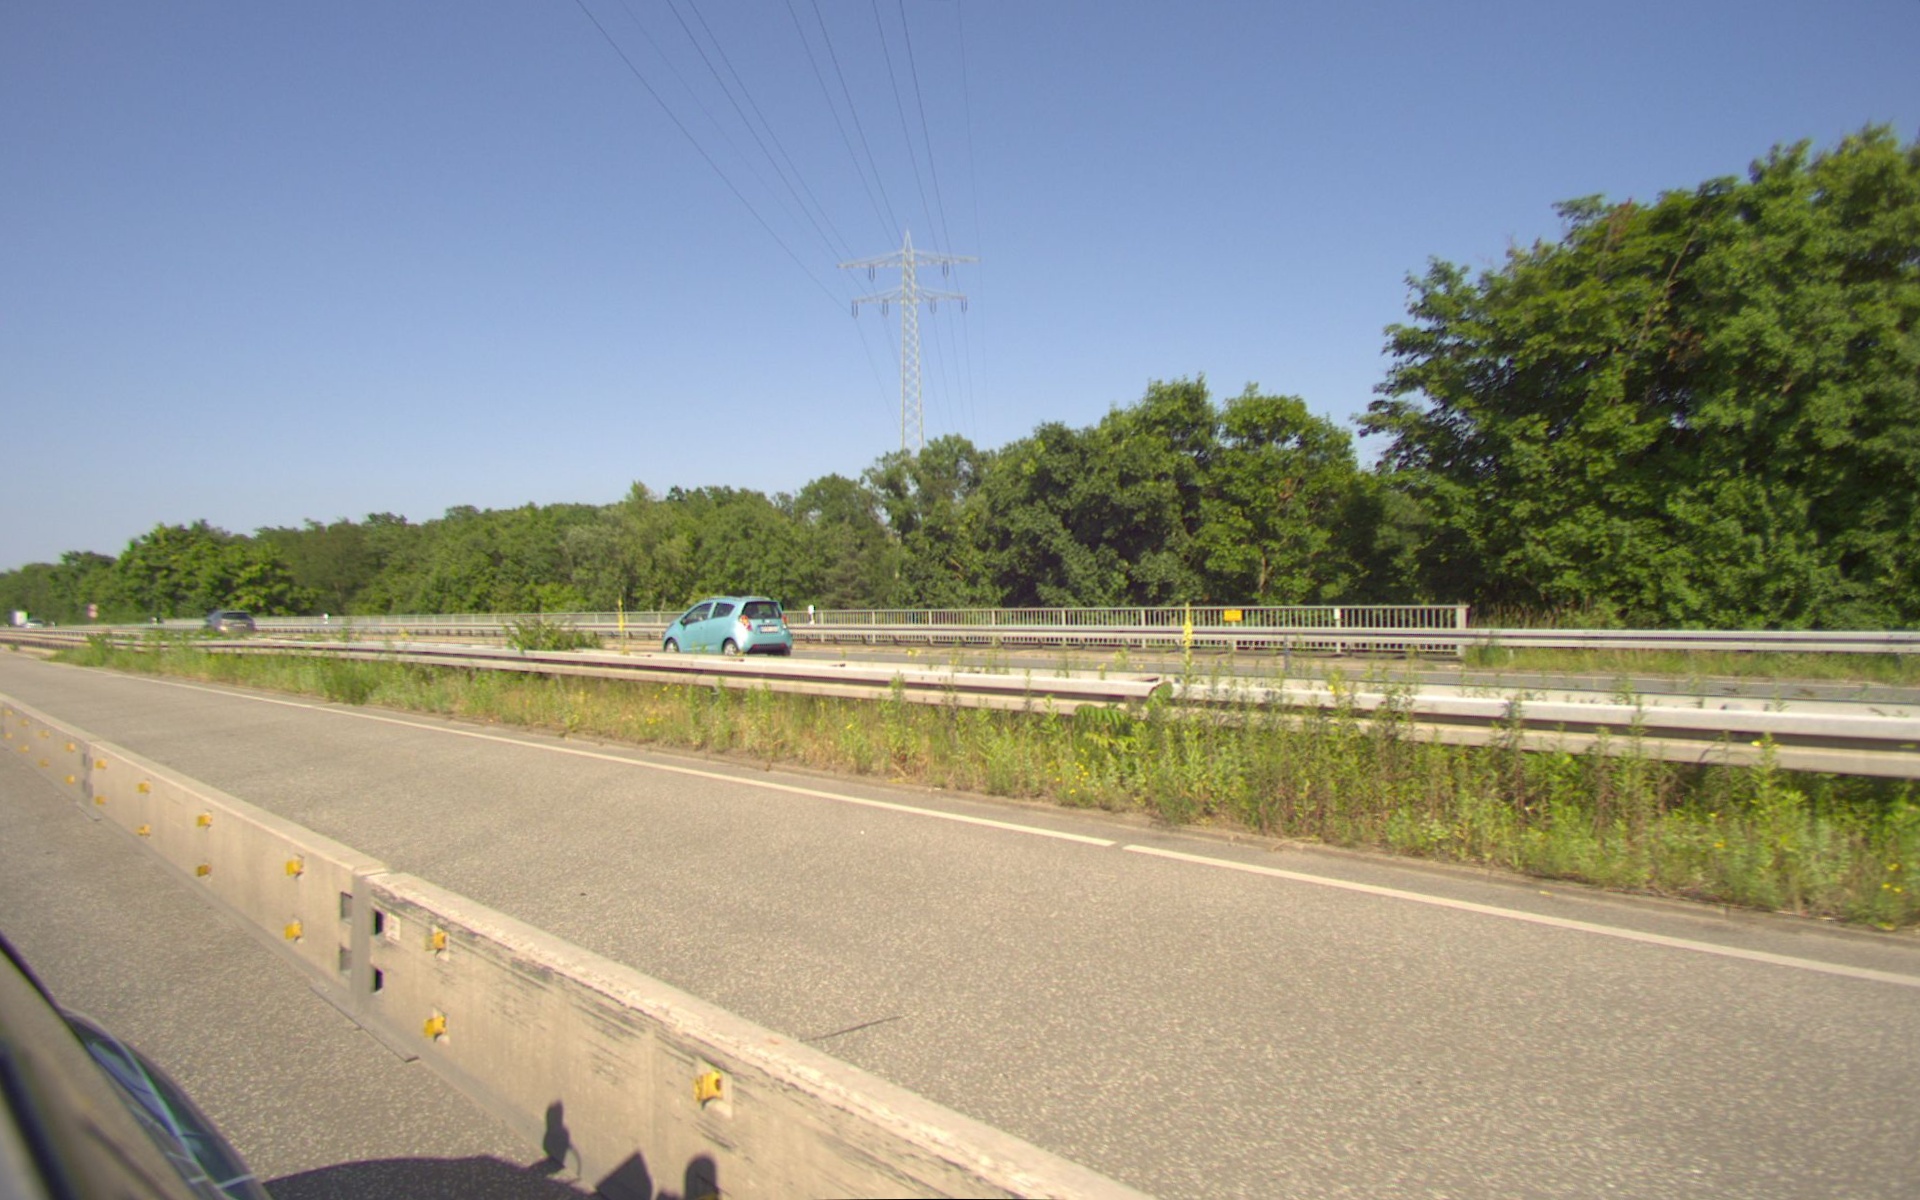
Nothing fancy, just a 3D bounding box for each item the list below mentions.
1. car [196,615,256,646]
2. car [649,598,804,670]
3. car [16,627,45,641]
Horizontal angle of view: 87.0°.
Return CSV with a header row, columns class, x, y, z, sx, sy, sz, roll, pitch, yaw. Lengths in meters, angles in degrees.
class,x,y,z,sx,sy,sz,roll,pitch,yaw
car,-39.747,1.631,54.749,4.421,1.595,1.744,-1,-2,42
car,-5.583,0.775,23.967,3.816,1.542,1.629,-1,0,41
car,-95.945,3.450,104.441,4.124,1.403,1.758,-1,-2,41
